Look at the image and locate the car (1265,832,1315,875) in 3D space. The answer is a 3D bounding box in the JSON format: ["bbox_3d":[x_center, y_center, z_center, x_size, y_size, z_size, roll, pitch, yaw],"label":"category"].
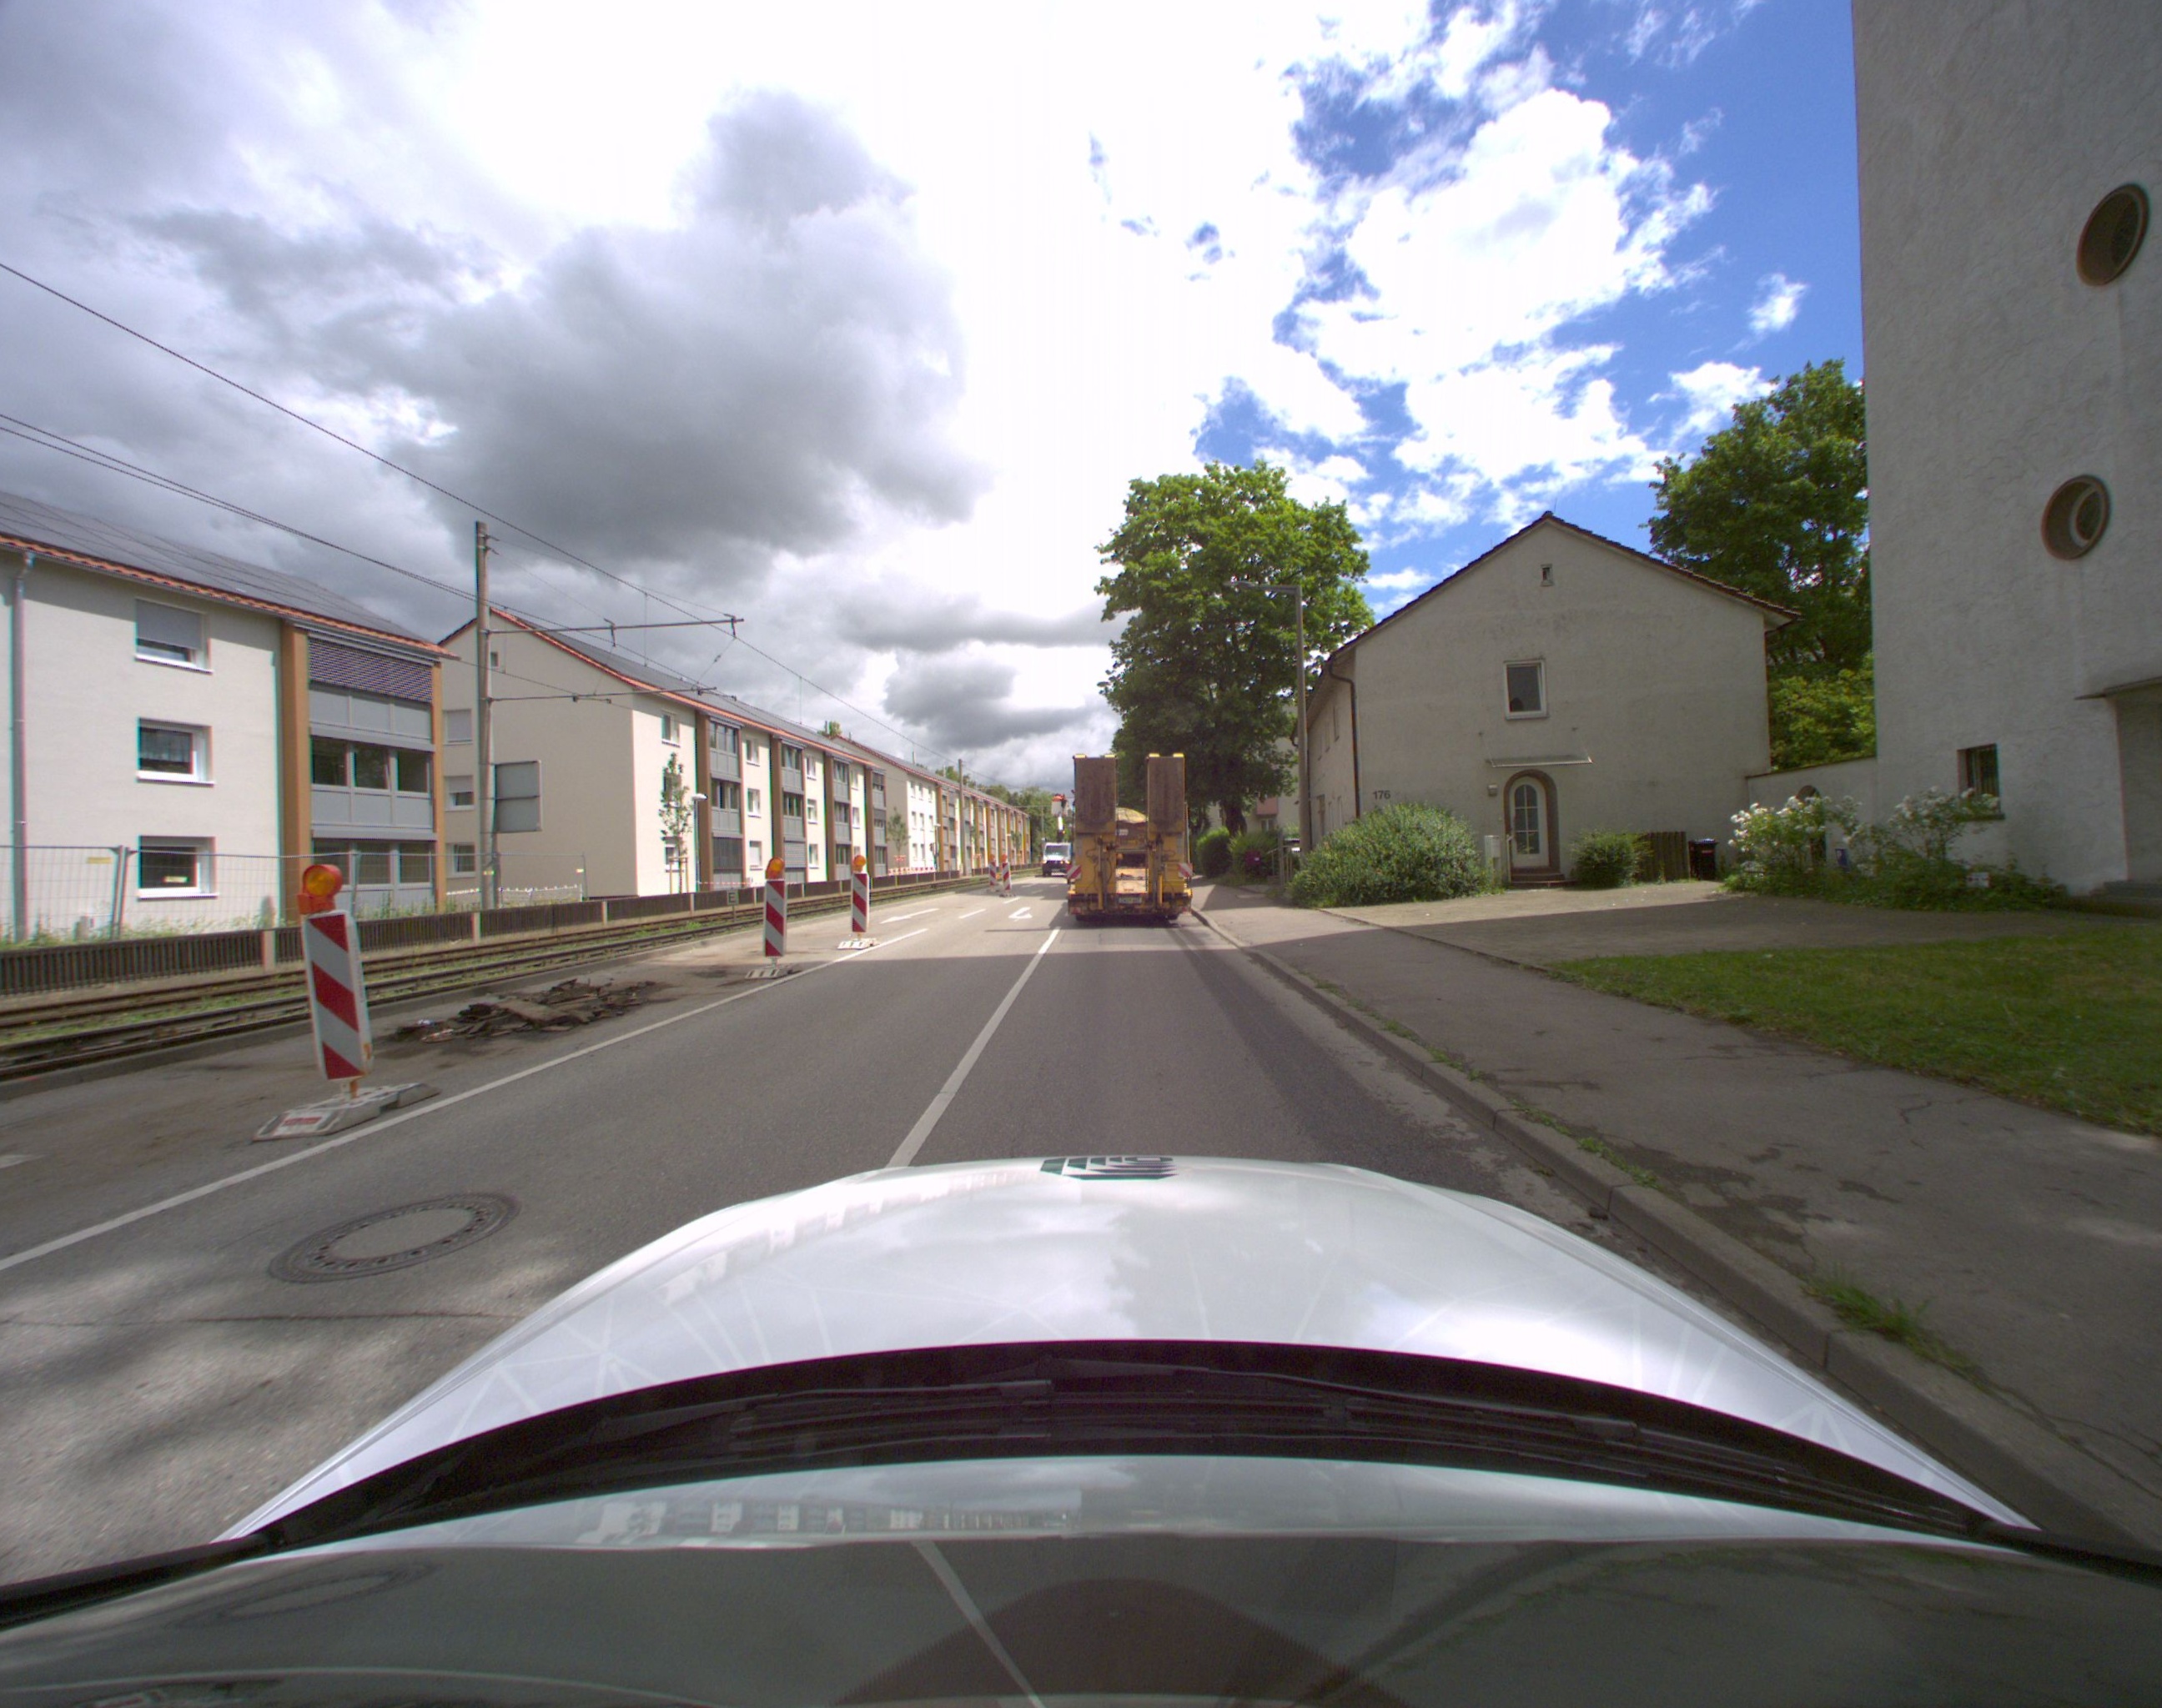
[{"bbox_3d":[9.129,-0.013,35.765,1.800,1.649,4.012,-3,-1,11],"label":"car"}]

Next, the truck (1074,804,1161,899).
[{"bbox_3d":[1.287,-0.081,31.245,2.907,3.167,7.680,0,0,1],"label":"truck"}]

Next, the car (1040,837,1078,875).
[{"bbox_3d":[-1.470,0.134,56.533,1.985,2.430,6.328,-1,0,4],"label":"car"}]

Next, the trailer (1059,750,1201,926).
[{"bbox_3d":[1.090,-0.317,21.895,2.813,3.524,11.053,0,0,1],"label":"trailer"}]

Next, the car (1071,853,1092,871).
[{"bbox_3d":[0.075,0.718,72.325,1.711,1.552,3.920,-1,0,3],"label":"car"}]
